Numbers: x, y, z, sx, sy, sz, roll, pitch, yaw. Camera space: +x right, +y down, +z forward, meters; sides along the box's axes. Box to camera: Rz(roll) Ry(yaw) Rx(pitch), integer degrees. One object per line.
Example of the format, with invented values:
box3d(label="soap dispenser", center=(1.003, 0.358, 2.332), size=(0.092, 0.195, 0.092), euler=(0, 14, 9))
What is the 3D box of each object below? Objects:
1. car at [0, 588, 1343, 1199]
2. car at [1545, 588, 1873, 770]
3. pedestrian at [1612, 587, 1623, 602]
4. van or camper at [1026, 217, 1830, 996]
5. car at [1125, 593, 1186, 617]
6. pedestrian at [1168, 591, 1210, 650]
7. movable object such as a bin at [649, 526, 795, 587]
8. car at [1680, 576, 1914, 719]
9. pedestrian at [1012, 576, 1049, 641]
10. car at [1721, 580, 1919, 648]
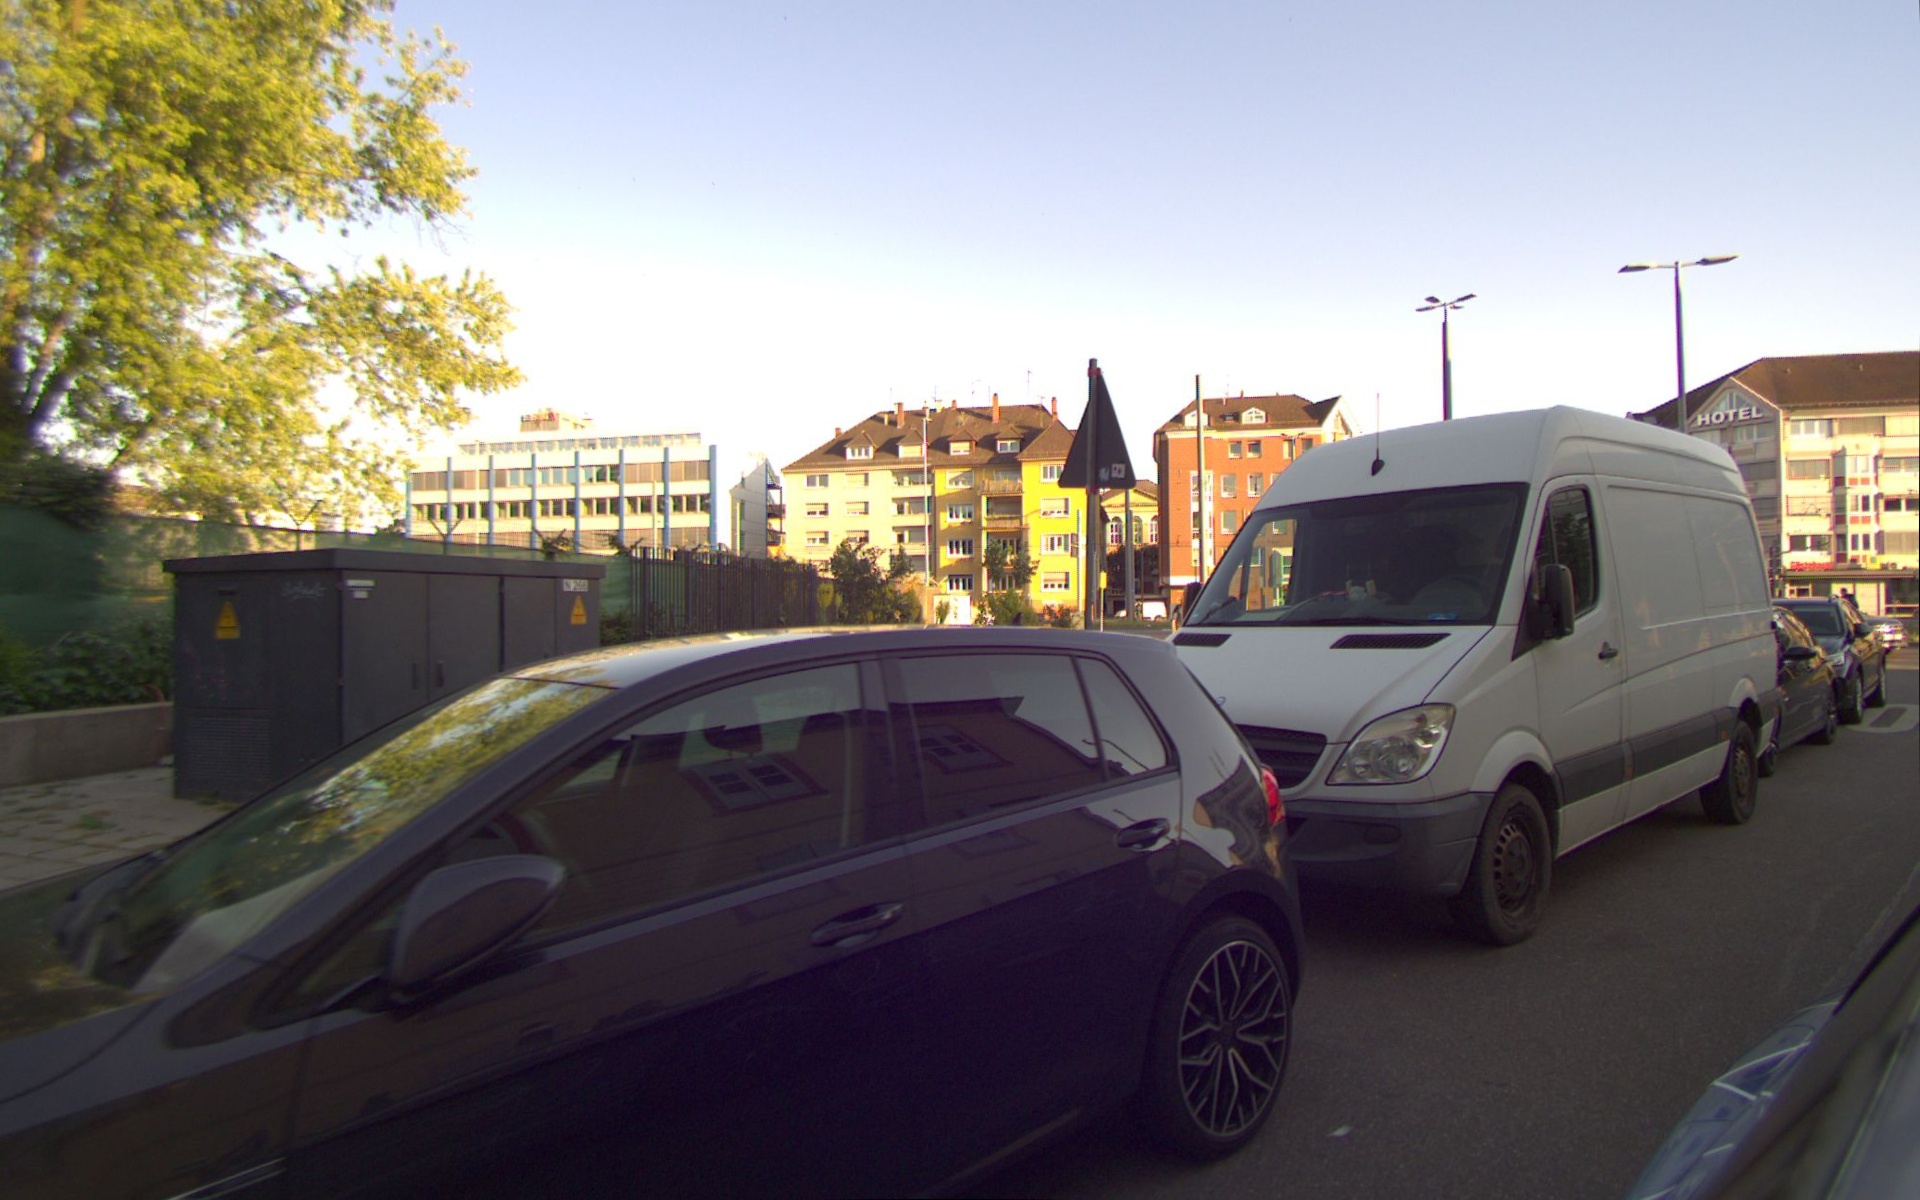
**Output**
box3d(label="car", center=(-0.952, 0.735, 2.377), size=(4.026, 1.478, 1.695), euler=(-1, -1, -40))
box3d(label="car", center=(7.684, 0.627, 10.216), size=(4.396, 1.448, 1.731), euler=(-1, -1, -41))
box3d(label="pedestrian", center=(68.230, -0.607, 105.041), size=(0.696, 1.568, 0.904), euler=(-1, 0, 11))
box3d(label="van or camper", center=(3.463, -0.023, 6.476), size=(6.334, 2.810, 2.081), euler=(-1, 0, -39))
box3d(label="car", center=(16.332, 0.444, 84.669), size=(4.810, 1.862, 1.989), euler=(-1, -2, 18))
box3d(label="pedestrian", center=(7.011, 0.618, 30.985), size=(0.805, 1.758, 0.945), euler=(0, -1, -30))
box3d(label="movable object such as a bin", center=(-8.587, -1.501, 36.816), size=(1.992, 2.039, 4.948), euler=(-1, 0, 42))
box3d(label="car", center=(10.992, 0.505, 13.183), size=(4.218, 1.563, 1.780), euler=(-1, 0, -42))
box3d(label="pedestrian", center=(1.864, 0.210, 26.779), size=(0.811, 1.686, 0.760), euler=(1, 0, 17))
box3d(label="car", center=(22.667, 0.321, 26.509), size=(1.905, 1.638, 4.396), euler=(-1, 0, -5))
